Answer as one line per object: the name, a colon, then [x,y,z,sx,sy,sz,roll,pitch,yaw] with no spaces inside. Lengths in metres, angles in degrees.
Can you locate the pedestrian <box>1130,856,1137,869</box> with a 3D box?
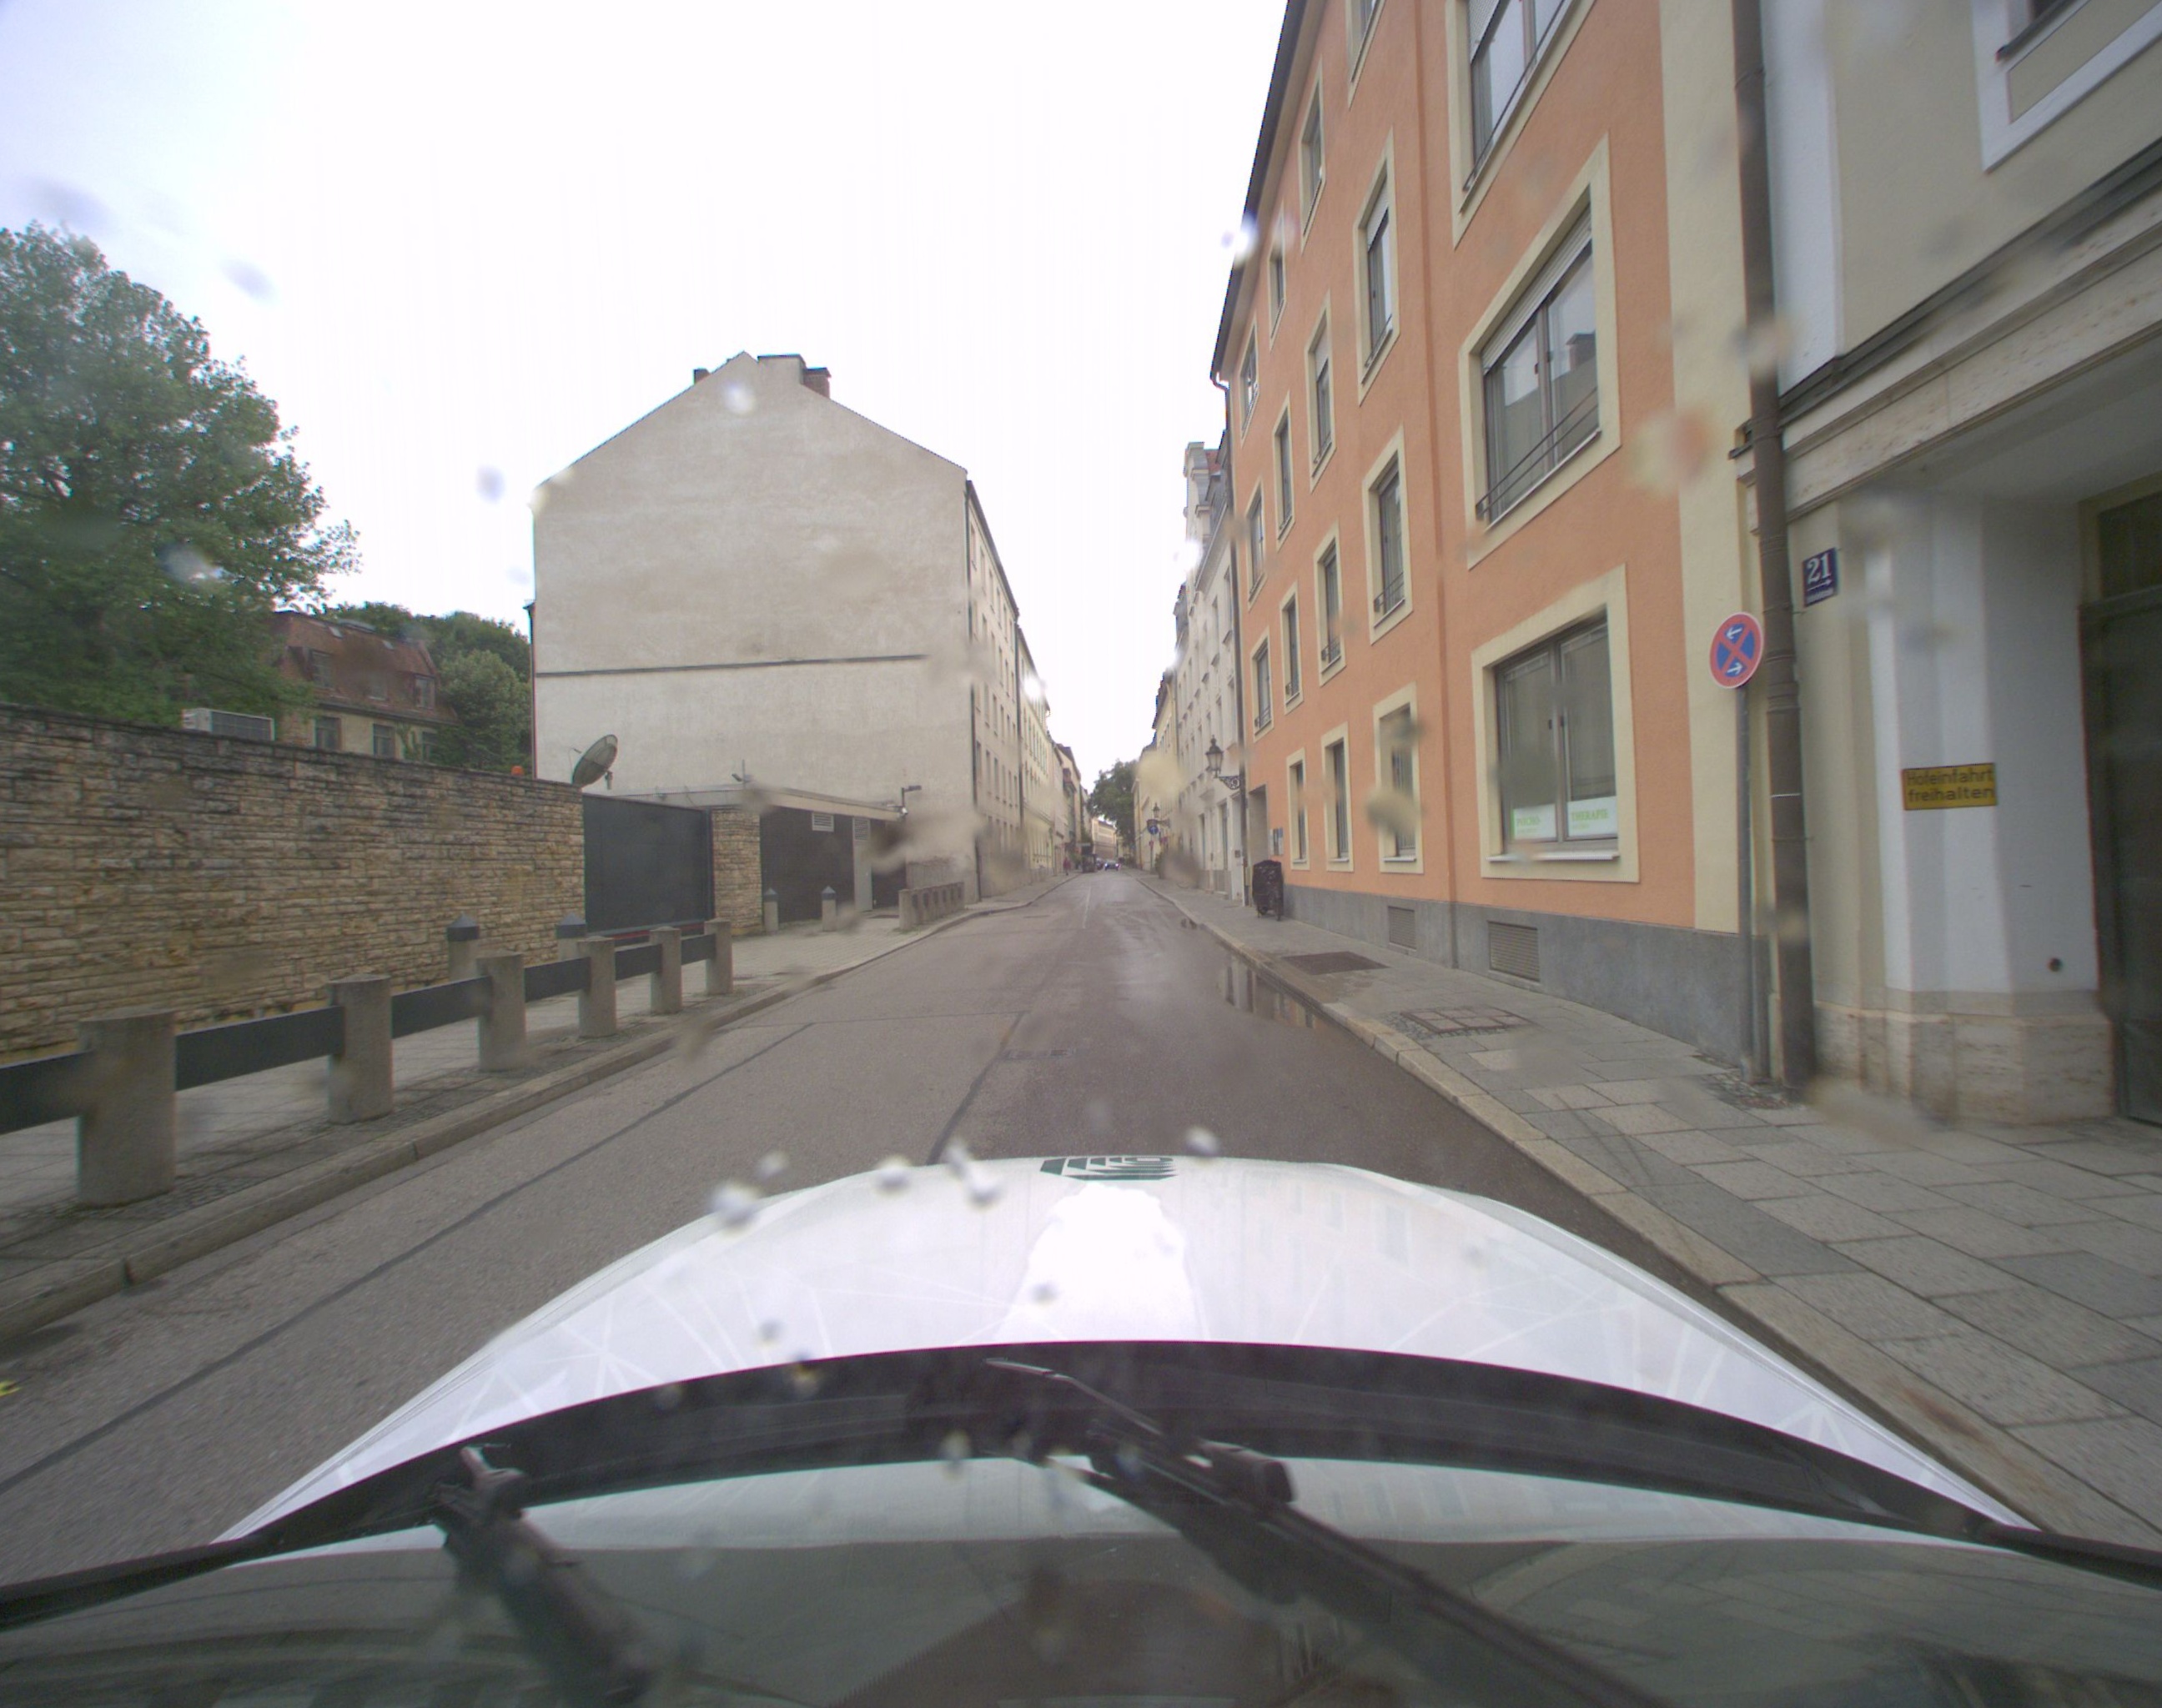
pedestrian: [7.032,1.154,110.019,0.877,1.802,1.047,-1,0,2]

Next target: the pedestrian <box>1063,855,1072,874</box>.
pedestrian: [-1.257,1.009,76.211,0.763,1.708,0.785,-3,-1,-1]

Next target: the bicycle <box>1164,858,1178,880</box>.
bicycle: [5.009,0.813,45.362,0.563,1.137,1.989,-5,0,3]

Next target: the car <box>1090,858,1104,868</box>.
car: [2.300,1.275,116.829,1.771,1.466,3.667,-1,0,5]

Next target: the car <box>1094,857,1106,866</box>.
car: [3.174,1.237,136.909,1.771,1.466,3.546,-1,0,5]

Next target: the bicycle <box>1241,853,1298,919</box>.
bicycle: [3.965,0.633,17.337,0.676,1.240,2.384,-7,0,4]

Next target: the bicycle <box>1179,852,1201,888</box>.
bicycle: [4.566,0.647,34.279,0.710,1.396,2.124,-5,0,4]

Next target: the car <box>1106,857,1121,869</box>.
car: [4.360,1.180,109.529,1.806,1.594,4.000,-2,0,1]

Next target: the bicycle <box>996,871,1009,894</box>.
bicycle: [-3.400,1.222,35.410,0.318,0.944,1.575,0,0,4]

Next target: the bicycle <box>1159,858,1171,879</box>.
bicycle: [4.901,0.856,47.586,0.563,1.137,1.685,-5,0,3]

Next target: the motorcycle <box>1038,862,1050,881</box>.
motorcycle: [-2.441,1.129,53.615,0.599,1.174,1.709,-2,0,2]
